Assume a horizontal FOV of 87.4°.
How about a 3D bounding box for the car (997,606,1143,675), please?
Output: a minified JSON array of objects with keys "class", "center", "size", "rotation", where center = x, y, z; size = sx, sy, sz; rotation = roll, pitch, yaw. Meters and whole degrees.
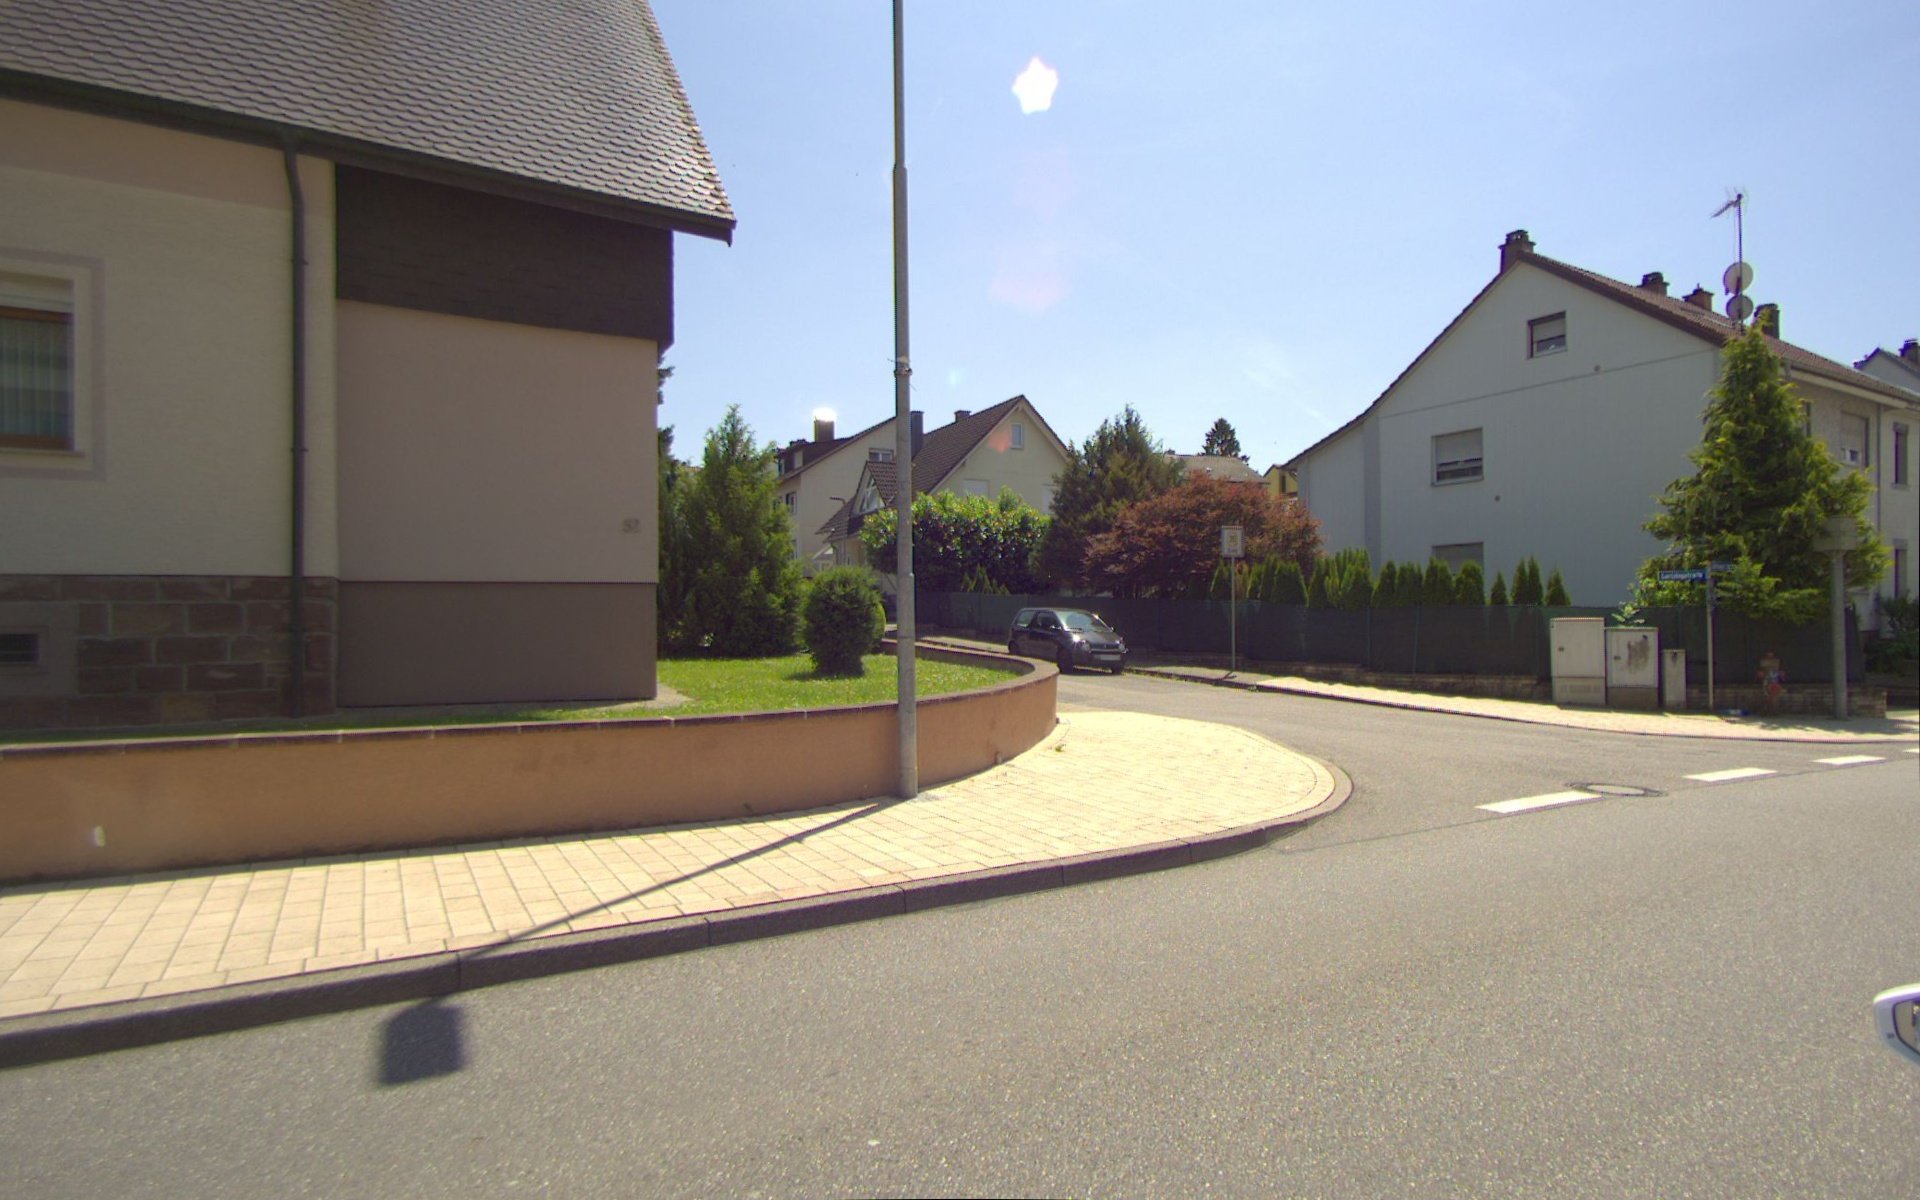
[{"class":"car","center":[2.536,0.926,24.086],"size":[1.729,1.435,3.730],"rotation":[1,0,-26]}]
